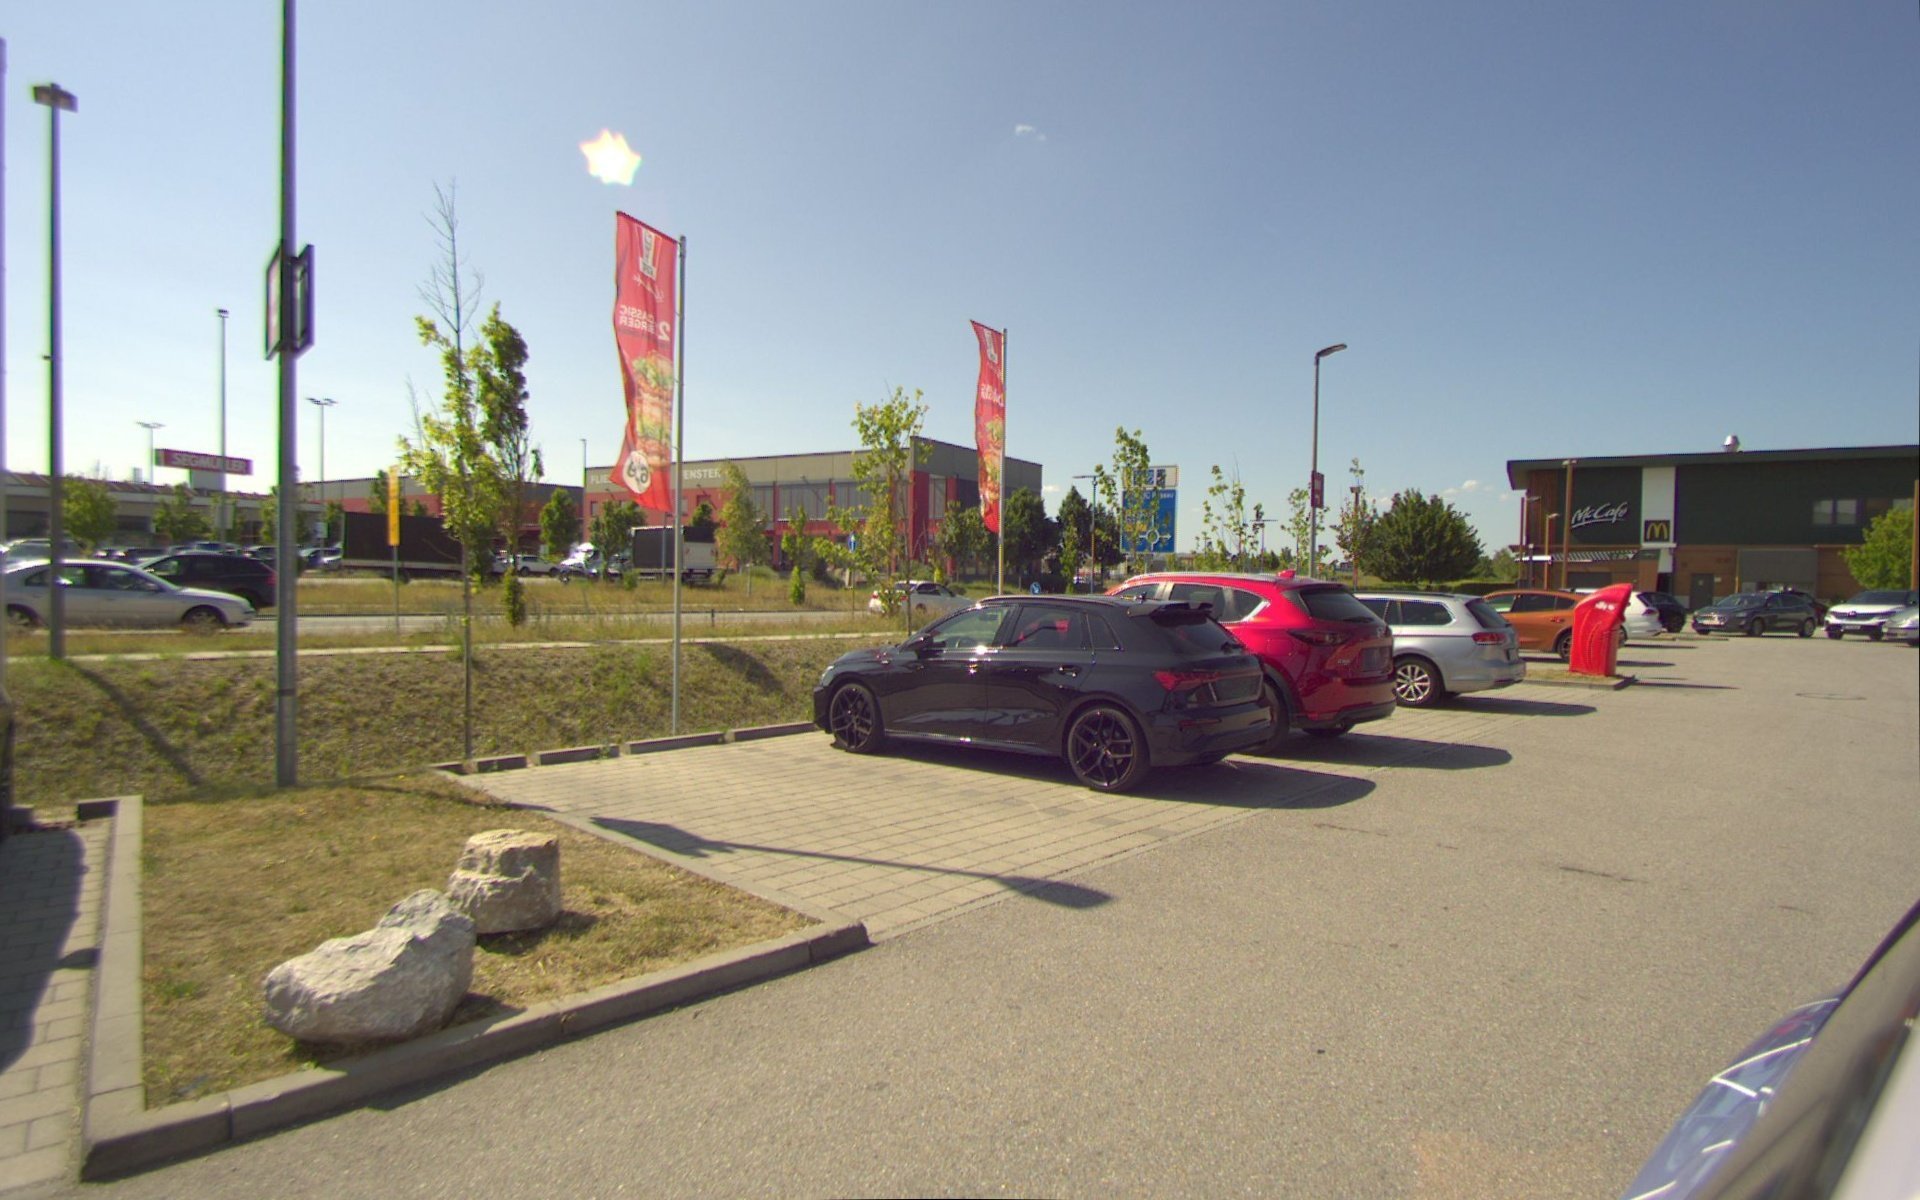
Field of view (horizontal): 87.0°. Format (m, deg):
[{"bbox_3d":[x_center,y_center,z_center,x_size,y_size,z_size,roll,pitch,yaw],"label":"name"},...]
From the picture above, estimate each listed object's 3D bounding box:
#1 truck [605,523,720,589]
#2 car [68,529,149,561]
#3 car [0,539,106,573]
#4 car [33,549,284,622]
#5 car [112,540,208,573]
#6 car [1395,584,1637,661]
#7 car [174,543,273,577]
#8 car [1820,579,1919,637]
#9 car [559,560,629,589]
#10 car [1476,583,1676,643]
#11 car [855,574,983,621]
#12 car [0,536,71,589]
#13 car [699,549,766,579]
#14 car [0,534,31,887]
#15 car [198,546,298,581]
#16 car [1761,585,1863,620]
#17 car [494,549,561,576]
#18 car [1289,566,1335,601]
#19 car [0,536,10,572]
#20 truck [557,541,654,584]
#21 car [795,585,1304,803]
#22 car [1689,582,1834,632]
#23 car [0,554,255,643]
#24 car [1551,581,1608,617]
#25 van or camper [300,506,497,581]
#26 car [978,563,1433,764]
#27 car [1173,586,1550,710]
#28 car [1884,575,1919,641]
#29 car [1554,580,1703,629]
[{"bbox_3d":[-17.097,-2.498,58.036,6.791,3.524,2.732,2,1,36],"label":"truck"},{"bbox_3d":[-59.429,-3.801,70.694,1.986,2.039,3.953,2,1,33],"label":"car"},{"bbox_3d":[-54.333,-2.607,60.716,1.939,1.879,4.358,2,1,30],"label":"car"},{"bbox_3d":[-19.870,-0.342,25.234,4.726,1.645,1.995,0,1,-44],"label":"car"},{"bbox_3d":[-50.689,-2.739,64.193,1.939,1.879,4.358,2,1,30],"label":"car"},{"bbox_3d":[11.750,0.415,21.522,4.328,1.487,1.809,0,1,37],"label":"car"},{"bbox_3d":[-43.800,-2.365,60.271,1.939,1.879,4.358,2,1,30],"label":"car"},{"bbox_3d":[29.118,0.241,31.761,4.123,1.675,1.978,1,1,-30],"label":"car"},{"bbox_3d":[-19.852,-1.389,54.796,3.942,1.478,1.634,2,1,36],"label":"car"},{"bbox_3d":[16.510,0.288,27.207,4.456,1.487,1.809,0,1,38],"label":"car"},{"bbox_3d":[-1.391,-0.084,36.089,1.991,1.546,4.590,2,1,40],"label":"car"},{"bbox_3d":[-35.279,-1.414,38.384,1.919,1.879,4.404,1,1,-36],"label":"car"},{"bbox_3d":[-15.114,-2.397,67.421,1.939,1.879,4.358,2,1,30],"label":"car"},{"bbox_3d":[-5.068,0.529,3.971,1.862,1.658,4.445,0,1,-40],"label":"car"},{"bbox_3d":[-41.257,-2.103,58.761,1.939,1.879,4.358,2,1,30],"label":"car"},{"bbox_3d":[42.617,0.134,50.626,4.373,1.622,1.967,1,1,-20],"label":"car"},{"bbox_3d":[-32.311,-2.792,75.766,1.939,1.879,4.358,2,1,30],"label":"car"},{"bbox_3d":[23.949,-1.107,68.709,1.984,2.224,5.050,2,1,31],"label":"car"},{"bbox_3d":[-51.689,-2.405,51.632,1.939,1.879,4.358,2,1,30],"label":"car"},{"bbox_3d":[-25.244,-2.604,72.440,1.939,2.849,6.983,1,1,30],"label":"truck"},{"bbox_3d":[0.596,0.598,8.755,4.188,1.428,1.747,1,1,41],"label":"car"},{"bbox_3d":[26.396,0.229,33.342,4.119,1.545,1.979,1,1,-23],"label":"car"},{"bbox_3d":[-16.446,-0.042,19.387,4.580,1.546,1.995,0,1,-44],"label":"car"},{"bbox_3d":[31.175,-0.085,51.034,1.977,1.712,4.199,2,2,25],"label":"car"},{"bbox_3d":[-26.148,-2.562,47.571,7.889,3.140,2.423,1,1,-26],"label":"van or camper"},{"bbox_3d":[2.377,0.487,10.484,4.216,1.658,1.920,1,1,43],"label":"car"},{"bbox_3d":[5.395,0.539,14.035,4.584,1.430,1.714,1,1,43],"label":"car"},{"bbox_3d":[28.068,0.257,27.049,4.644,1.770,1.814,1,1,30],"label":"car"},{"bbox_3d":[23.218,0.139,35.189,4.241,1.545,1.980,1,1,-15],"label":"car"}]
